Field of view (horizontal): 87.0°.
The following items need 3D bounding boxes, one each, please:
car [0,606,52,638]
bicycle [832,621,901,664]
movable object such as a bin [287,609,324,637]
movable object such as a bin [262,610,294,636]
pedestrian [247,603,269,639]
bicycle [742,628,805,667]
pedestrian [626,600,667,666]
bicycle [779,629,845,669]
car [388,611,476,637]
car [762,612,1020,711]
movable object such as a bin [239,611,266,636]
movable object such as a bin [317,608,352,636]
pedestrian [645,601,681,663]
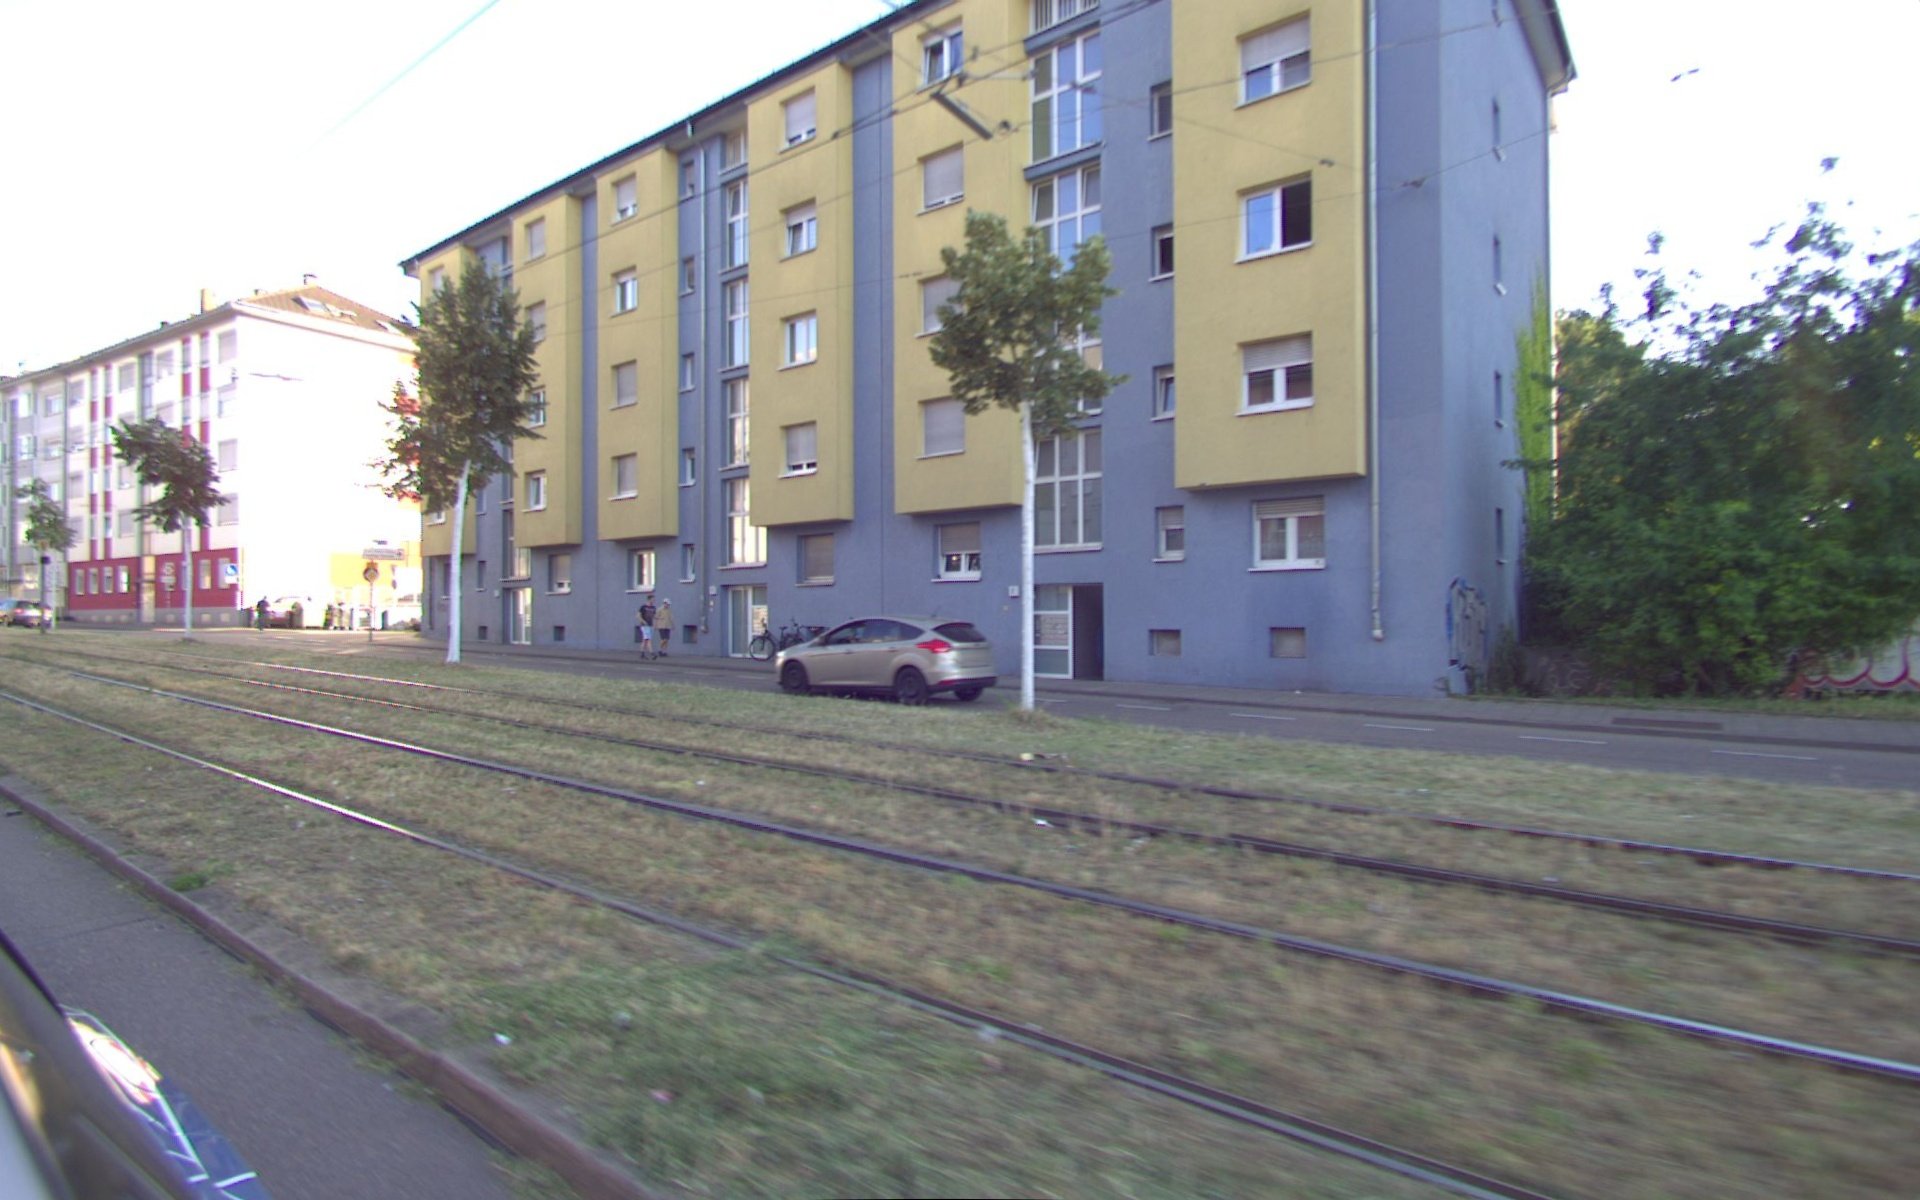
[{"bbox_3d":[-47.278,1.053,50.485,4.783,1.480,1.778,1,-2,34],"label":"car"},{"bbox_3d":[-2.273,1.015,24.491,1.909,0.967,0.423,0,-1,38],"label":"bicycle"},{"bbox_3d":[-33.244,1.155,51.389,1.135,1.426,1.207,0,-1,32],"label":"movable object such as a bin"},{"bbox_3d":[-34.928,1.177,51.836,0.803,1.296,1.149,0,-1,32],"label":"movable object such as a bin"},{"bbox_3d":[-33.471,0.996,48.279,0.789,1.702,0.609,-1,0,31],"label":"pedestrian"},{"bbox_3d":[-4.867,1.232,26.369,1.909,0.932,0.423,0,2,38],"label":"bicycle"},{"bbox_3d":[-8.718,0.907,28.144,0.884,1.786,0.588,-1,3,36],"label":"pedestrian"},{"bbox_3d":[-3.776,1.226,25.707,1.909,0.932,0.423,0,3,38],"label":"bicycle"},{"bbox_3d":[-27.976,1.271,53.696,1.697,1.303,3.831,0,0,33],"label":"car"},{"bbox_3d":[-1.253,0.990,17.430,4.305,1.471,1.683,0,-2,35],"label":"car"},{"bbox_3d":[-35.541,1.192,50.864,0.803,1.235,0.859,0,-1,32],"label":"movable object such as a bin"},{"bbox_3d":[-32.500,1.157,52.579,1.104,1.426,1.207,0,-1,32],"label":"movable object such as a bin"},{"bbox_3d":[-8.471,0.903,28.865,0.705,1.707,0.611,-1,3,36],"label":"pedestrian"}]
